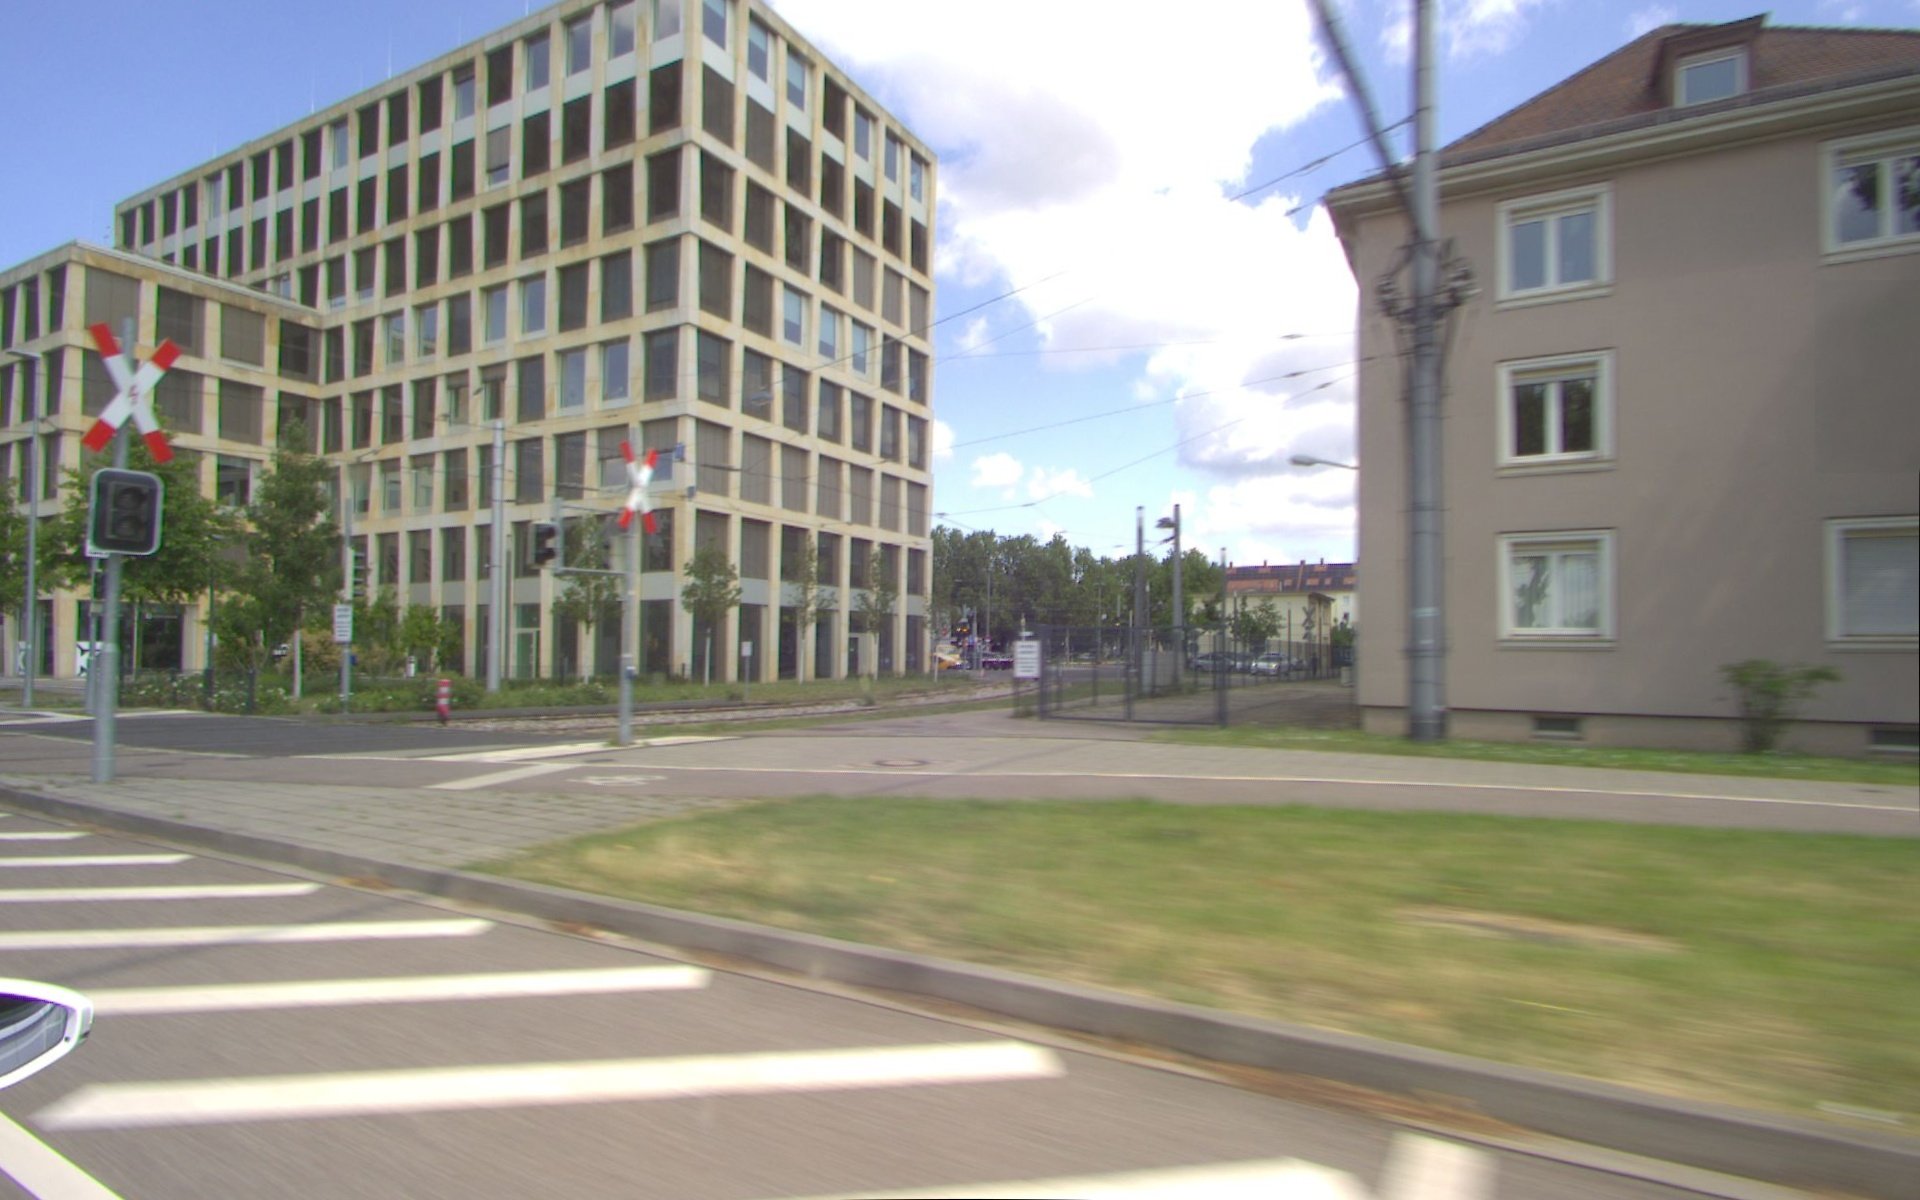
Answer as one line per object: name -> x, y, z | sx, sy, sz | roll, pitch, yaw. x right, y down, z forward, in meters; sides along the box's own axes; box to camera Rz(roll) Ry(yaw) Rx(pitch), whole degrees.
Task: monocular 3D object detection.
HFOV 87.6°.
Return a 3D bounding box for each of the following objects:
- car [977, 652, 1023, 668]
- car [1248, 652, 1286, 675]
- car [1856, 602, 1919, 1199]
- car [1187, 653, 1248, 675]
car -> 3.680, 5.489, 91.539 | 3.936, 1.371, 1.624 | -1, -1, 26
car -> 21.157, 4.383, 68.951 | 1.780, 1.586, 4.019 | -1, -4, 28
car -> 3.726, 0.730, 0.643 | 4.352, 1.560, 1.778 | -1, -2, 28
car -> 18.713, 4.636, 72.876 | 3.974, 1.586, 1.801 | -2, -4, 32
